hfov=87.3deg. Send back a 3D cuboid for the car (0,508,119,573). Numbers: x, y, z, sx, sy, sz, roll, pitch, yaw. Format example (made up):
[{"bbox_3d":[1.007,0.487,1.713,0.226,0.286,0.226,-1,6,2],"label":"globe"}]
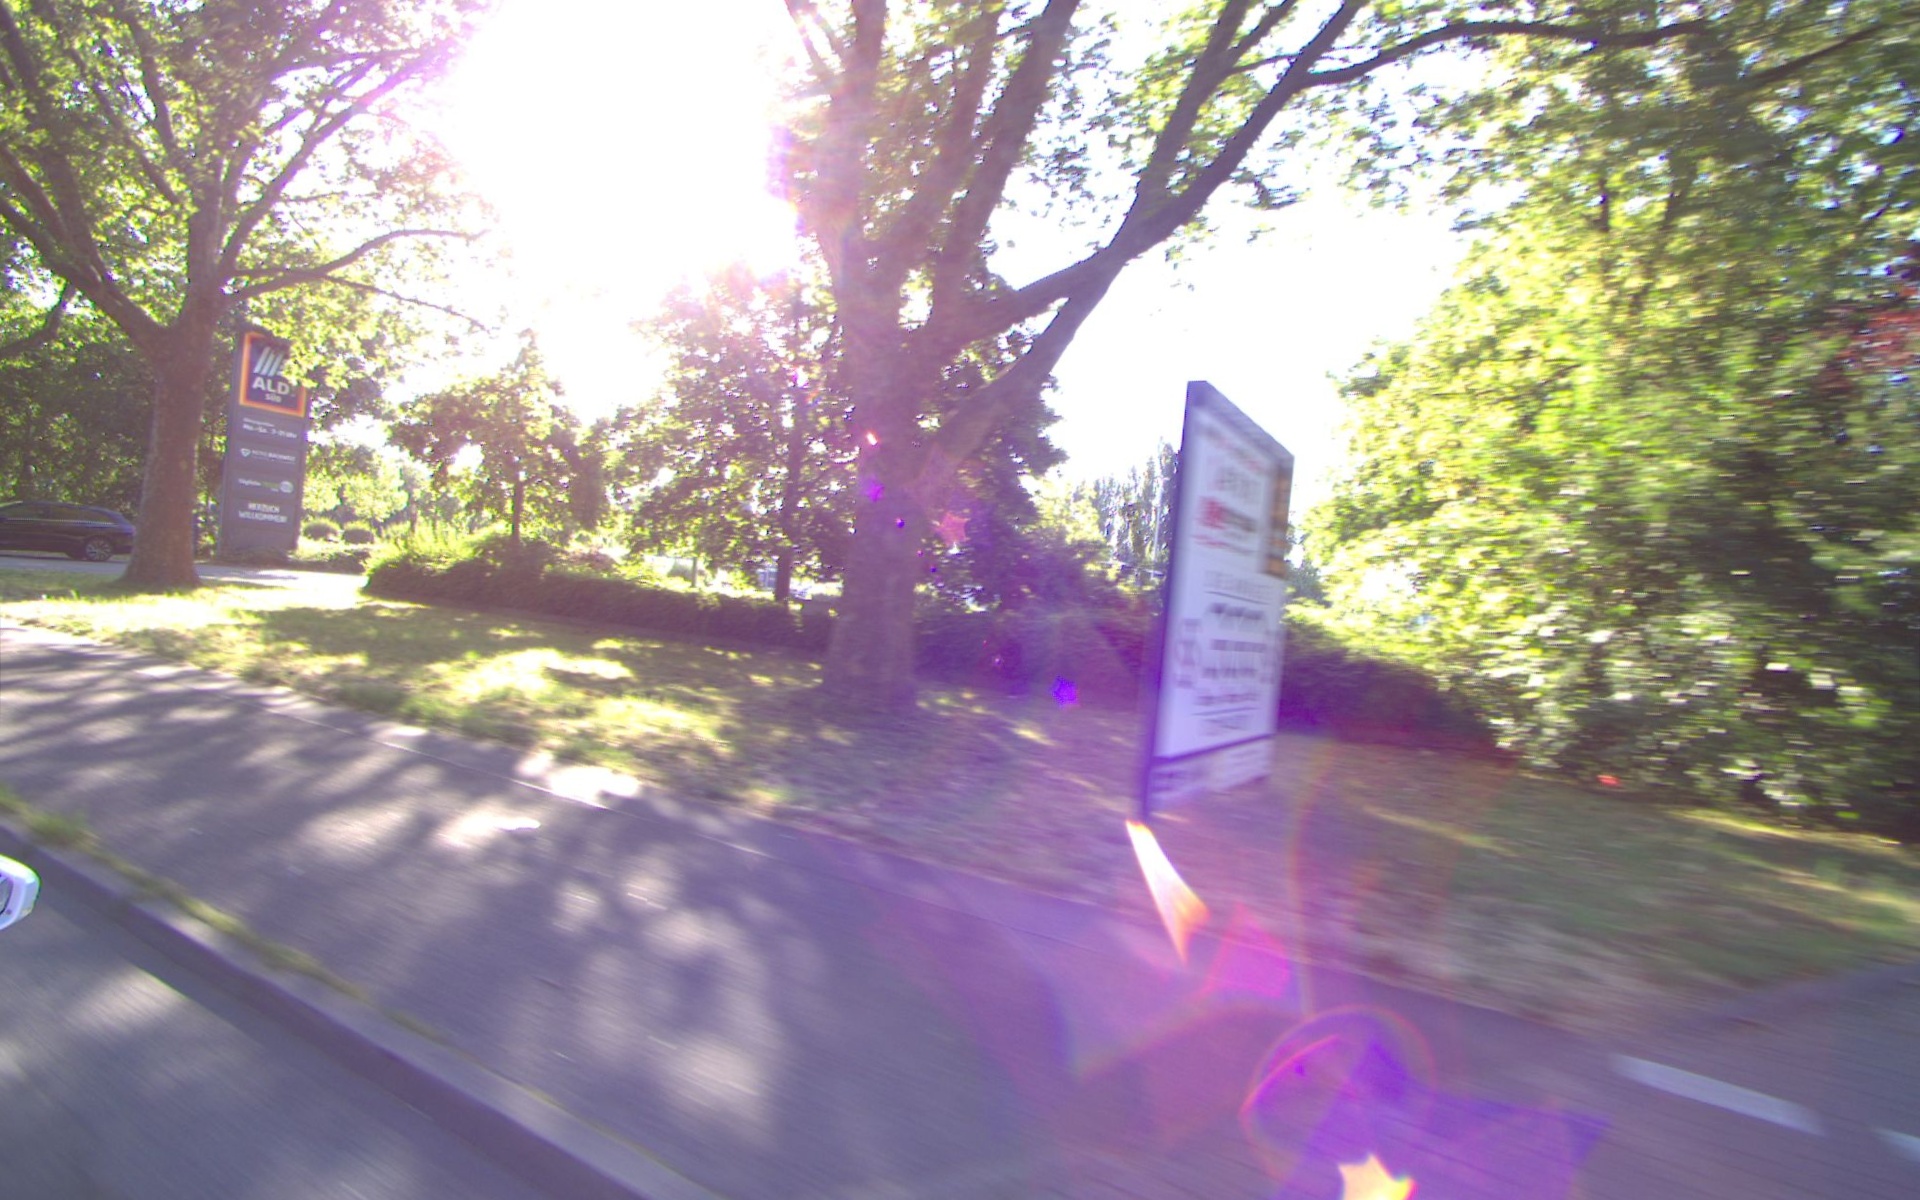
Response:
[{"bbox_3d":[-24.415,-1.599,25.800,1.732,1.462,3.987,6,2,32],"label":"car"}]
